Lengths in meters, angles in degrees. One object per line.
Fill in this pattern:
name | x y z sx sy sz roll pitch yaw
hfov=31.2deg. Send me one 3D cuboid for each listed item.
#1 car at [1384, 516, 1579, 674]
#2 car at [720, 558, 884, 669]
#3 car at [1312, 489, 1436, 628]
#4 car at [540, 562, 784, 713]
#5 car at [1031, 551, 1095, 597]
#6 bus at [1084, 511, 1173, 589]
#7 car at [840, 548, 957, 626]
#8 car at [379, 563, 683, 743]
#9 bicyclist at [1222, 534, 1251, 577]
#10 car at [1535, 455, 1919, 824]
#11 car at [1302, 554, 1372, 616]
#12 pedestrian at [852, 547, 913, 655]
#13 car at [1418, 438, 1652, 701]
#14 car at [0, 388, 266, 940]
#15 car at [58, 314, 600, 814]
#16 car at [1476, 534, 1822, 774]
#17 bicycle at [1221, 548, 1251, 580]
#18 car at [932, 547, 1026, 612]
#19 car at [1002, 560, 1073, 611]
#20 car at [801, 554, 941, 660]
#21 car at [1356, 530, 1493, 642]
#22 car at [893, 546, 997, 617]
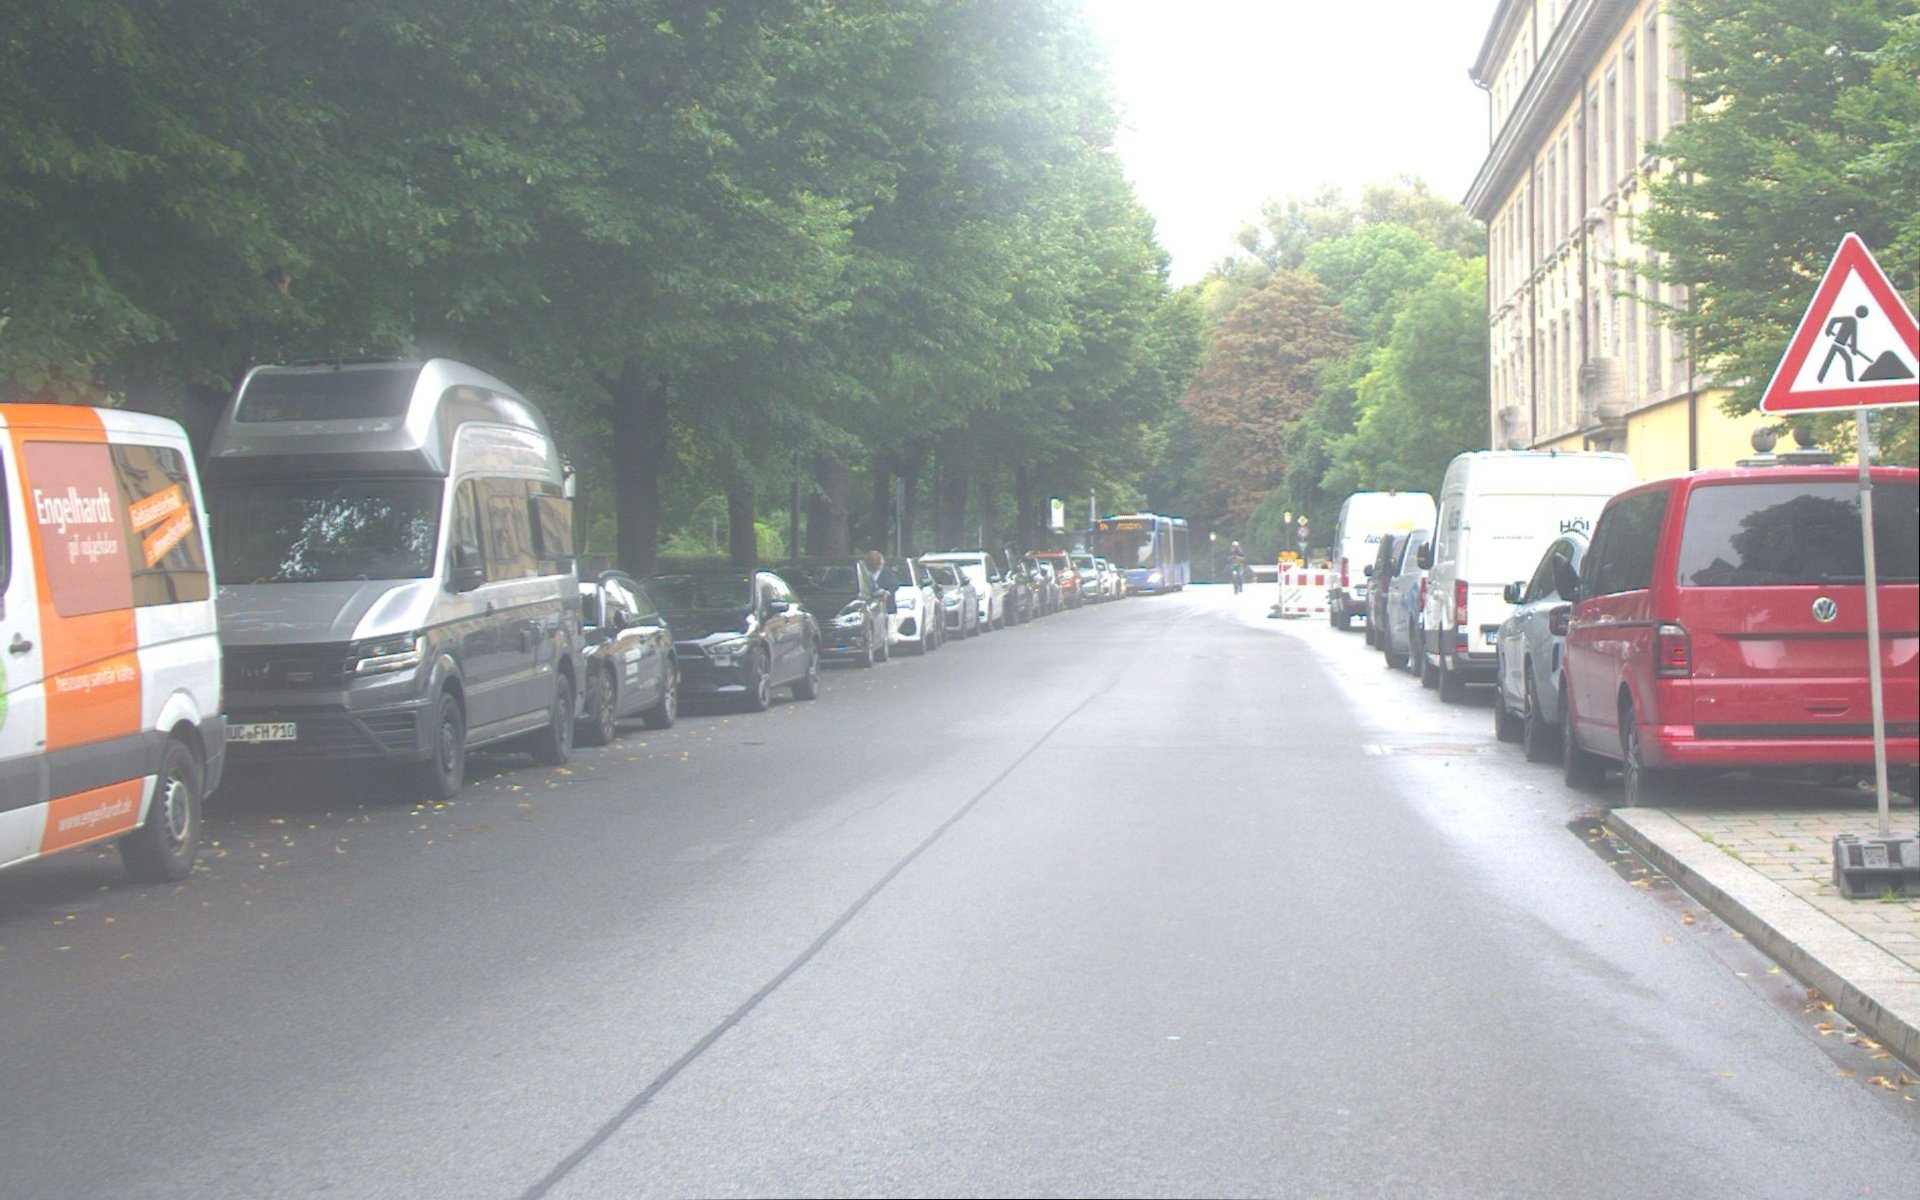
car | 6.489 -0.094 43.148 1.994 1.876 4.000 -1 1 3
car | -2.191 0.161 48.693 1.993 1.481 4.129 0 1 2
car | 8.101 -0.827 67.581 1.839 2.613 4.384 -1 1 -1
car | -2.974 0.340 35.086 1.993 1.415 4.129 0 1 2
car | 3.275 -0.851 108.964 1.993 1.415 4.000 0 1 2
bus | 6.468 -1.948 132.864 2.937 2.909 8.240 0 1 -1
car | -1.128 -0.265 65.062 1.993 1.415 4.000 0 1 2
car | -3.611 0.406 29.635 1.993 1.415 4.000 0 1 2
bicyclist | 10.032 -1.614 124.716 1.021 1.540 1.257 -1 1 5
car | 4.700 0.171 20.534 1.911 1.930 4.969 0 1 3
car | 10.862 -0.453 98.926 1.805 1.730 3.999 -1 1 9
pedestrian | -1.160 0.009 51.461 0.883 1.592 0.823 0 1 -3
car | 5.966 -0.341 36.239 1.994 2.549 5.429 -1 1 5
car | -4.903 0.281 14.977 2.084 2.257 5.602 -2 1 5
car | -4.137 -0.261 23.837 2.173 2.992 6.232 -1 1 4
car | 5.070 0.333 25.889 1.994 1.629 4.564 -1 1 4
bicycle | 9.999 -1.311 124.529 1.021 1.153 2.485 -1 1 5
car | 0.461 -0.474 77.279 1.993 1.415 4.000 0 1 2
car | 2.274 -0.440 99.716 1.993 1.415 4.000 0 1 2
car | -1.390 0.088 55.131 1.993 1.614 4.129 0 1 2
car | 7.299 -0.244 54.300 1.794 1.673 4.000 -1 1 3
car | -0.279 -0.400 71.042 1.993 1.415 4.000 0 1 2
